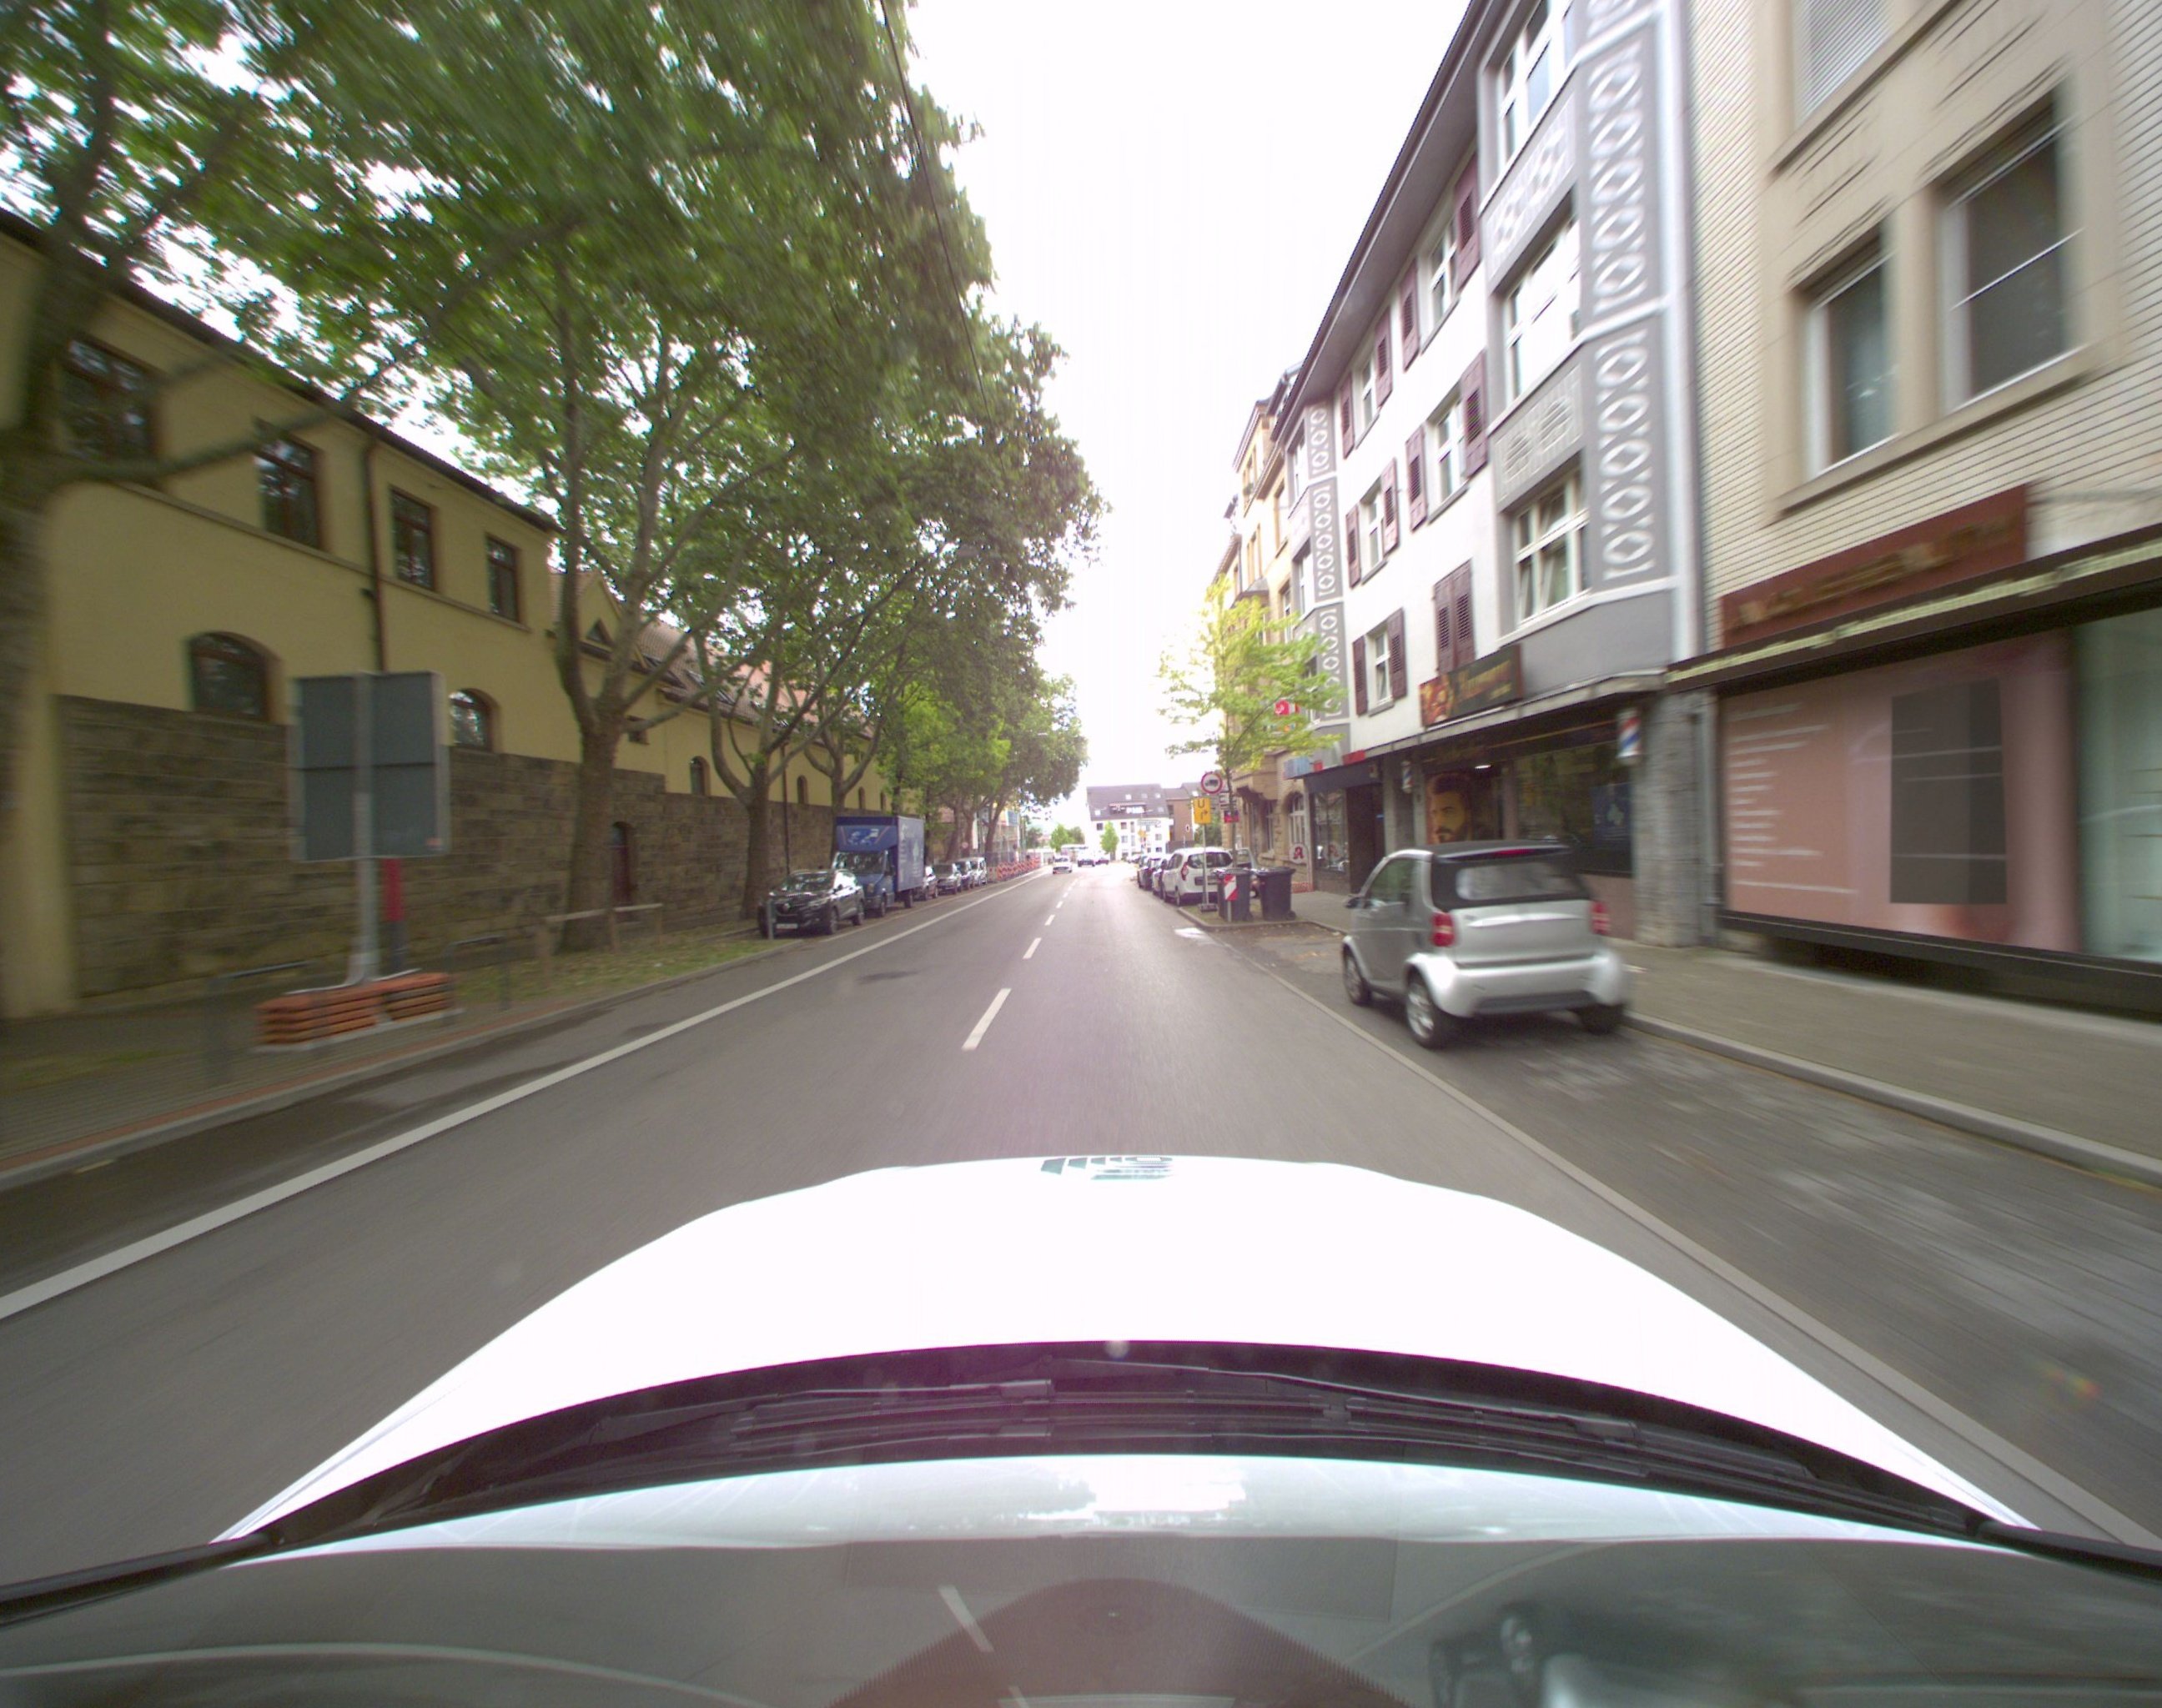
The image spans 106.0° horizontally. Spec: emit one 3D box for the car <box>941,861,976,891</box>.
[{"bbox_3d":[-7.049,1.238,47.159,1.504,1.631,4.112,-1,-1,-2],"label":"car"}]

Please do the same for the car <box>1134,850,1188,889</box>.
[{"bbox_3d":[3.448,0.640,35.821,1.734,1.463,4.772,-4,0,-1],"label":"car"}]

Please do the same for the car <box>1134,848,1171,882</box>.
[{"bbox_3d":[3.659,0.564,42.276,1.560,1.610,3.654,-3,0,1],"label":"car"}]

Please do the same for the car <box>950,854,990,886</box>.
[{"bbox_3d":[-7.137,0.996,52.768,1.827,1.876,4.417,-3,0,1],"label":"car"}]

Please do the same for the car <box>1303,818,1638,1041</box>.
[{"bbox_3d":[3.349,0.551,7.759,1.476,1.534,3.523,-4,0,1],"label":"car"}]

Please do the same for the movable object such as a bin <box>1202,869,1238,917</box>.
[{"bbox_3d":[3.089,0.861,18.149,0.620,1.024,0.696,-3,-1,-2],"label":"movable object such as a bin"}]

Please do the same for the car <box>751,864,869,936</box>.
[{"bbox_3d":[-7.052,1.139,21.660,1.726,1.689,4.251,-1,-1,0],"label":"car"}]

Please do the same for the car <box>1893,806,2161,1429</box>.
[{"bbox_3d":[3.260,0.558,0.383,1.678,1.415,4.042,-4,0,1],"label":"car"}]

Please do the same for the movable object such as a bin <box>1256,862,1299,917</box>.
[{"bbox_3d":[4.015,0.720,16.658,0.693,1.073,0.623,-1,0,-3],"label":"movable object such as a bin"}]

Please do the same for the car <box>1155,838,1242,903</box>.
[{"bbox_3d":[3.427,0.469,24.587,1.675,1.663,4.540,-5,0,-2],"label":"car"}]

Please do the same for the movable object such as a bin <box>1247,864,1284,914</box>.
[{"bbox_3d":[3.947,0.743,17.495,0.576,1.024,0.623,-2,-1,-5],"label":"movable object such as a bin"}]

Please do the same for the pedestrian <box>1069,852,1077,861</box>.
[{"bbox_3d":[-1.178,0.387,120.503,0.923,1.192,0.911,-2,-1,29],"label":"pedestrian"}]

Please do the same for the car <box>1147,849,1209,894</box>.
[{"bbox_3d":[3.435,0.598,29.464,1.601,1.397,4.275,-5,0,0],"label":"car"}]

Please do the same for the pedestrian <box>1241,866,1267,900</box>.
[{"bbox_3d":[4.919,0.813,23.185,0.622,0.941,0.694,-1,0,5],"label":"pedestrian"}]

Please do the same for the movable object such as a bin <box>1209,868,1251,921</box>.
[{"bbox_3d":[3.062,0.815,16.735,0.621,1.024,0.695,-3,0,-7],"label":"movable object such as a bin"}]

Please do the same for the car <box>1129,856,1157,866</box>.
[{"bbox_3d":[9.207,1.032,121.309,3.653,1.426,1.714,-2,-1,24],"label":"car"}]

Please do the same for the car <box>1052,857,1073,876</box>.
[{"bbox_3d":[-1.618,1.078,71.191,1.577,1.464,3.652,-5,-1,1],"label":"car"}]

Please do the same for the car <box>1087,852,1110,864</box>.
[{"bbox_3d":[2.424,0.486,111.523,1.640,1.464,4.024,-2,0,27],"label":"car"}]

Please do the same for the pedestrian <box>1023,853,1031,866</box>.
[{"bbox_3d":[-7.344,0.738,110.475,0.919,1.720,0.799,-1,-1,3],"label":"pedestrian"}]

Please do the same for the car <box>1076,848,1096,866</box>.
[{"bbox_3d":[0.665,0.349,95.227,2.197,1.931,5.242,-1,0,1],"label":"car"}]

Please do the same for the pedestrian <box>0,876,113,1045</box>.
[{"bbox_3d":[-11.270,1.095,8.669,0.857,1.687,0.929,-1,-1,10],"label":"pedestrian"}]

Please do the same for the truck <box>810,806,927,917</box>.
[{"bbox_3d":[-7.278,0.246,28.896,2.208,3.416,7.245,-1,0,0],"label":"truck"}]

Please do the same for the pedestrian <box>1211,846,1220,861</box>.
[{"bbox_3d":[14.205,-0.072,86.270,0.583,1.585,0.569,-6,0,-28],"label":"pedestrian"}]

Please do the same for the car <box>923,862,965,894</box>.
[{"bbox_3d":[-7.002,1.217,41.989,1.590,1.574,4.083,-1,-1,-2],"label":"car"}]

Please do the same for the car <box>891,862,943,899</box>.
[{"bbox_3d":[-7.304,1.150,36.483,1.474,1.574,2.995,-1,-1,4],"label":"car"}]
